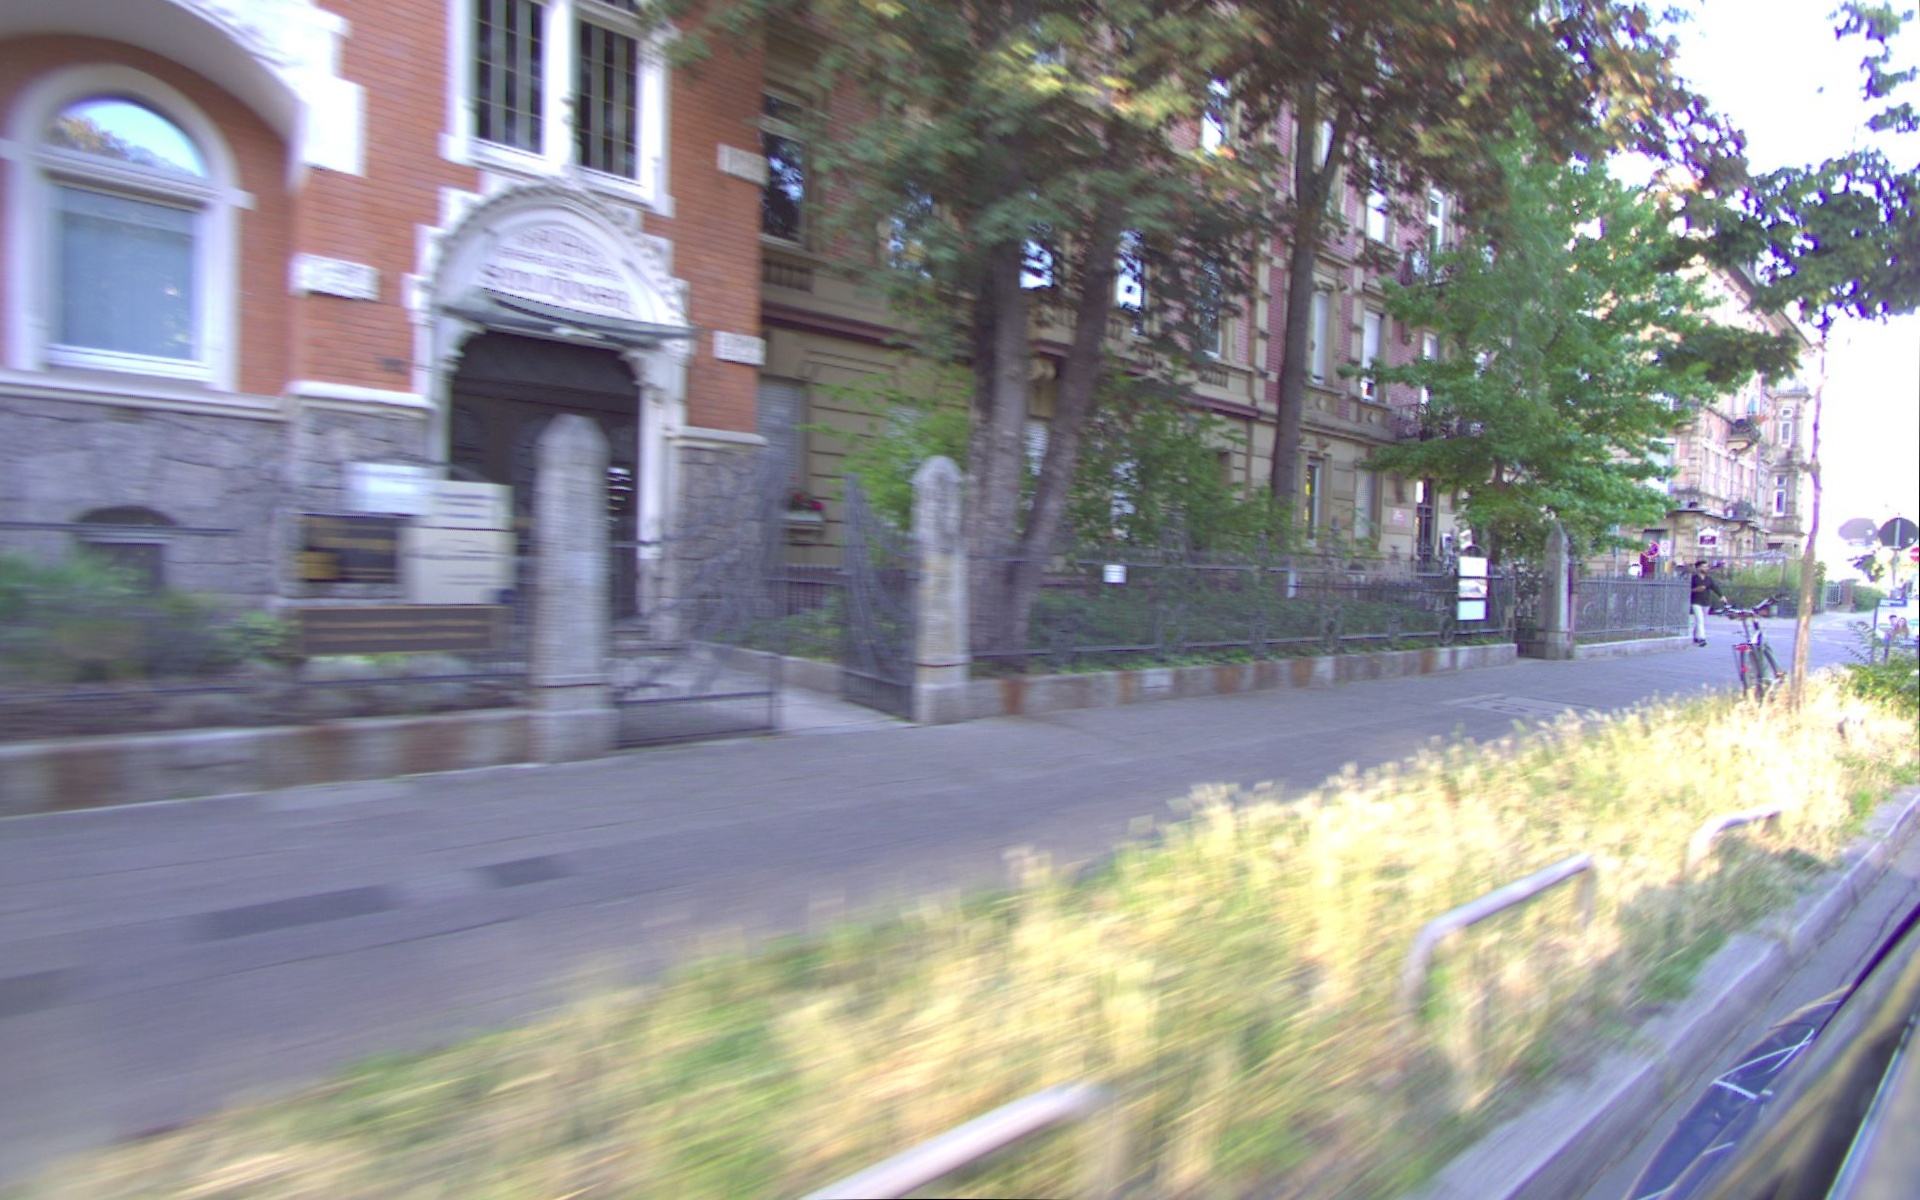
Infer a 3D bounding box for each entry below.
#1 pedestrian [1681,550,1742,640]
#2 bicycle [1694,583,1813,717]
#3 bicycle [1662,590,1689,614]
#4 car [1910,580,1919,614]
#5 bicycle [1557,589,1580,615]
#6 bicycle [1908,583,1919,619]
[{"bbox_3d":[15.755,-0.115,21.220,0.818,1.799,0.747,0,6,-44],"label":"pedestrian"},{"bbox_3d":[7.742,0.431,9.844,1.899,1.181,0.647,0,1,-44],"label":"bicycle"},{"bbox_3d":[27.809,0.069,39.329,1.702,0.827,0.295,-3,3,-35],"label":"bicycle"},{"bbox_3d":[44.174,-0.055,45.526,3.487,1.482,1.730,0,6,-43],"label":"car"},{"bbox_3d":[21.101,0.064,35.104,1.472,0.827,0.291,4,-2,-44],"label":"bicycle"},{"bbox_3d":[36.958,0.038,38.893,2.228,1.289,0.566,-2,8,-45],"label":"bicycle"}]
